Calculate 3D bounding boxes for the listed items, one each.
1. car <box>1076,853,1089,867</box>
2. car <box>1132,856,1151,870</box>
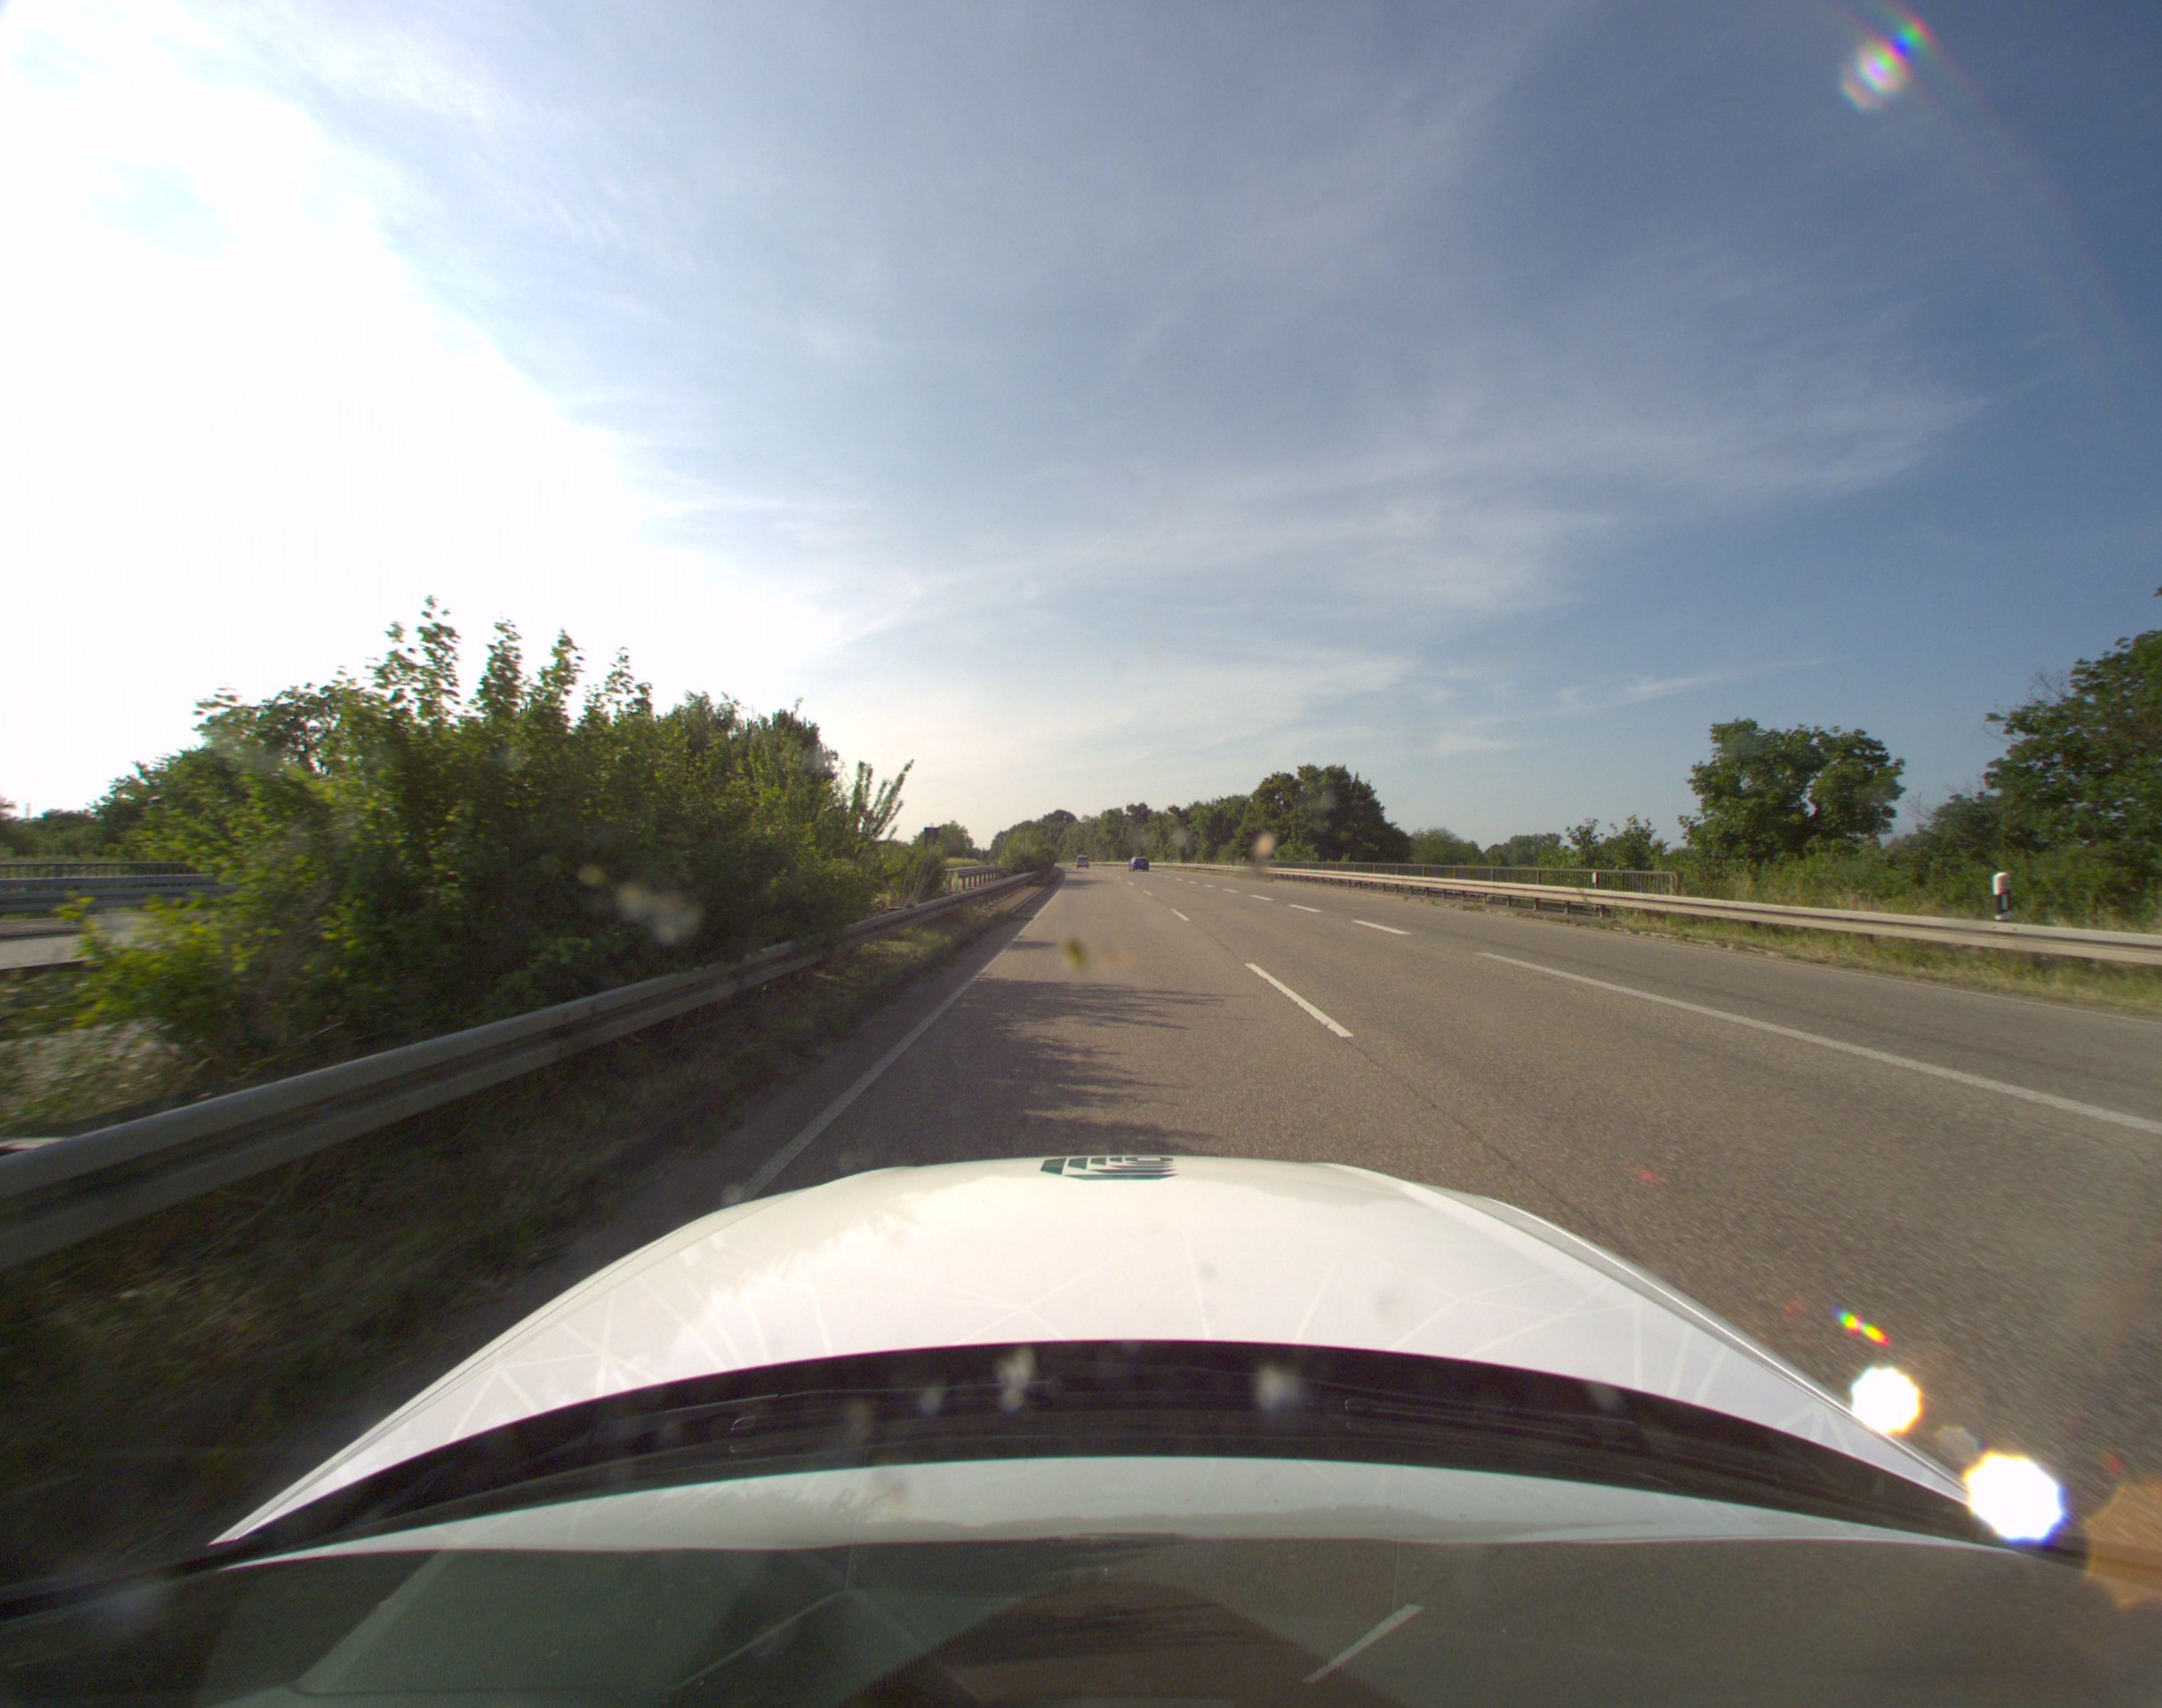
[{"bbox_3d":[0.176,0.817,115.905,1.760,1.882,3.998,0,0,-1],"label":"car"},{"bbox_3d":[6.238,0.944,84.238,1.772,1.452,4.001,-1,-1,1],"label":"car"}]
